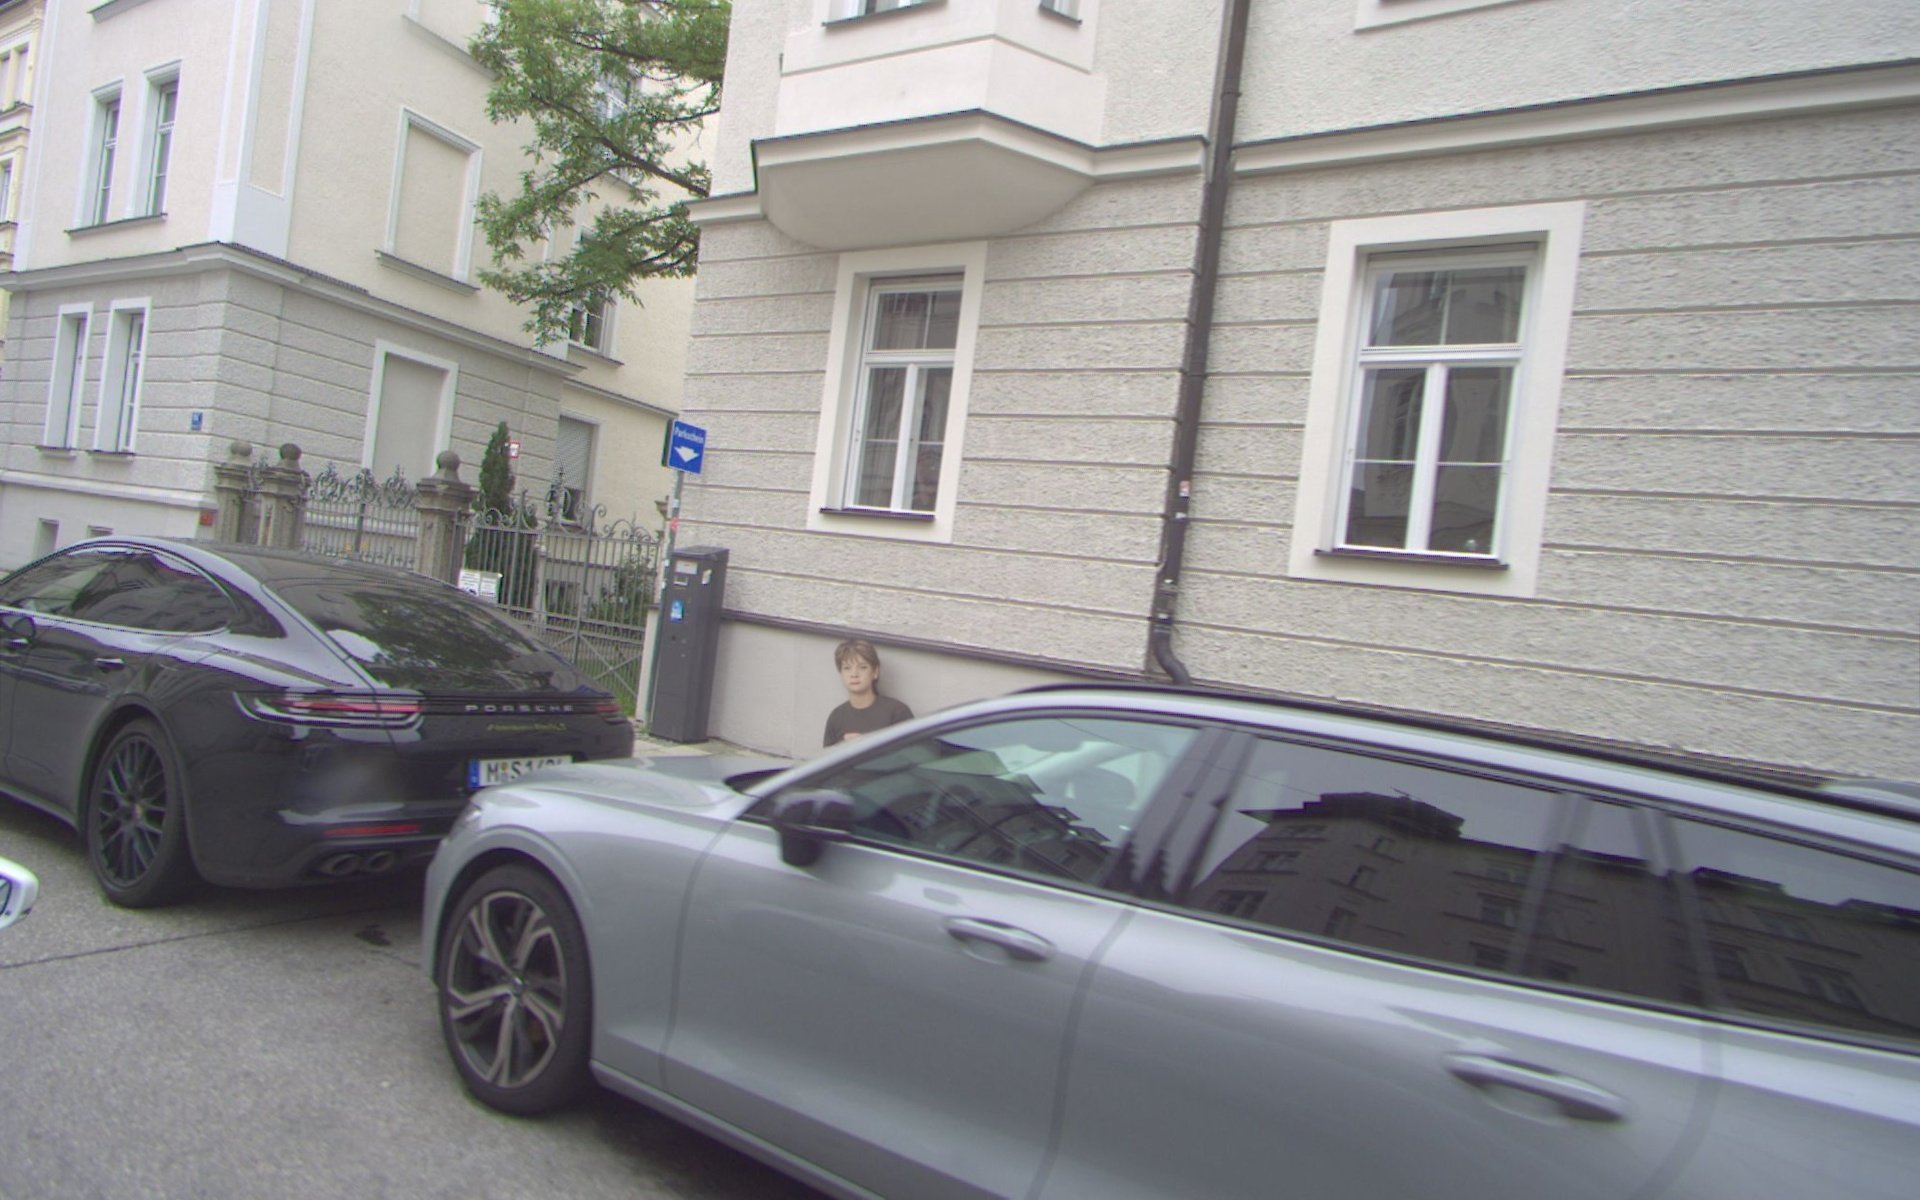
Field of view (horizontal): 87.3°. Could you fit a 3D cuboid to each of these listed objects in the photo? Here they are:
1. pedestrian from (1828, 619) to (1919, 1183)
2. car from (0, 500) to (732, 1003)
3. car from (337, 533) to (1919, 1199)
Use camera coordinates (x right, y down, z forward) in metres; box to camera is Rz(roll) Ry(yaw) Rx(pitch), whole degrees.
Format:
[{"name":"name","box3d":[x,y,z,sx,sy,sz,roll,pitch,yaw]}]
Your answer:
[{"name":"pedestrian","box3d":[3.770,1.056,3.322,0.879,1.835,1.097,4,3,-43]},{"name":"car","box3d":[-3.703,0.399,5.256,4.631,1.475,1.997,7,0,29]},{"name":"car","box3d":[0.458,0.882,2.768,4.346,1.502,1.765,7,-3,31]}]
